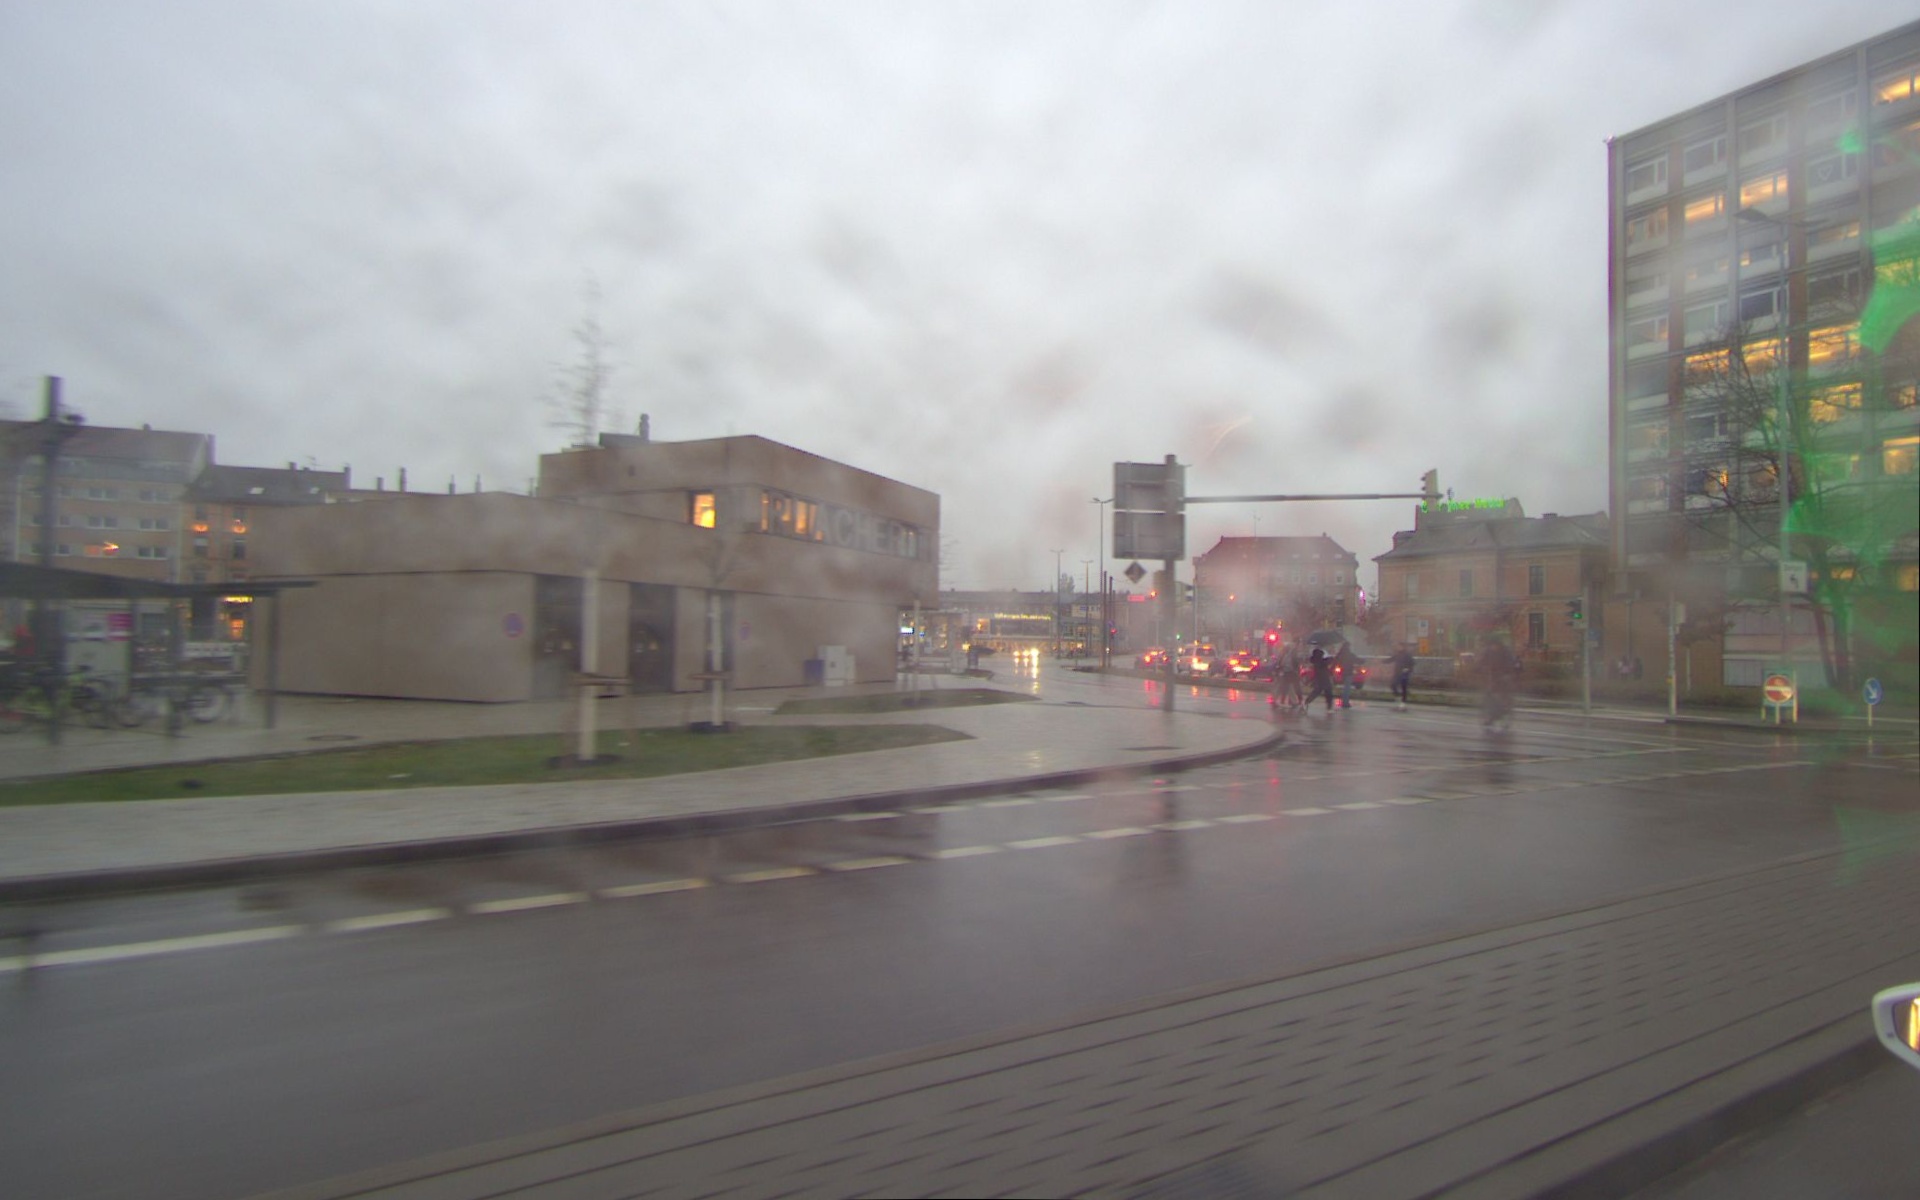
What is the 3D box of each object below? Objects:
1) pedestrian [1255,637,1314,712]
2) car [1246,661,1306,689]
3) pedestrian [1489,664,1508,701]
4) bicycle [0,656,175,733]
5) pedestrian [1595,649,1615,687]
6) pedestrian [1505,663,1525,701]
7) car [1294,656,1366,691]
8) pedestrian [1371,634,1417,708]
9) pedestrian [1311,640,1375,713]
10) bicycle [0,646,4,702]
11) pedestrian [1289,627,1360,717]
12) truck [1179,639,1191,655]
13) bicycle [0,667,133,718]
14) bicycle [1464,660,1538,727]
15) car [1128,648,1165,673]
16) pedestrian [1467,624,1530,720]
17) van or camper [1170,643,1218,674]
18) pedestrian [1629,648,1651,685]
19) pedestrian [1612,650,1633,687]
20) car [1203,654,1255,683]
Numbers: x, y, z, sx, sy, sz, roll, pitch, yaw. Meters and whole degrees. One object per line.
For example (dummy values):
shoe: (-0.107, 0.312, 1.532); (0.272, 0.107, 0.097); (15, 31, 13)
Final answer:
pedestrian: (8.522, 1.925, 26.367); (1.028, 1.882, 1.057); (2, 0, -42)
car: (17.993, 4.253, 57.341); (1.634, 1.422, 4.116); (2, -3, -8)
pedestrian: (29.858, 4.538, 55.669); (0.794, 1.956, 0.760); (2, 0, 22)
bicycle: (-14.698, 1.525, 16.601); (0.596, 1.119, 2.750); (2, -2, 22)
pedestrian: (31.026, 3.291, 48.327); (0.574, 1.804, 0.769); (-2, -3, 21)
pedestrian: (30.757, 4.536, 55.673); (0.794, 2.040, 0.760); (2, 0, 22)
car: (18.591, 3.663, 50.598); (1.676, 1.501, 3.866); (4, -3, -9)
pedestrian: (12.486, 2.018, 28.877); (1.089, 2.032, 0.847); (2, 0, 29)
pedestrian: (10.440, 2.050, 27.385); (1.025, 1.882, 1.223); (2, 0, -34)
bicycle: (-20.194, 1.458, 19.161); (0.635, 1.119, 2.747); (2, 0, 28)
pedestrian: (8.758, 1.708, 24.195); (1.194, 2.077, 1.032); (2, 0, -13)
truck: (40.700, 8.531, 181.936); (1.960, 2.726, 5.119); (0, -3, 14)
bicycle: (-16.999, 1.728, 19.103); (0.595, 0.883, 1.863); (-1, -3, 24)
bicycle: (10.244, 1.743, 19.006); (1.859, 1.191, 0.616); (3, -5, -42)
car: (13.825, 4.483, 74.714); (1.854, 1.795, 4.000); (2, -3, -3)
pedestrian: (10.173, 1.356, 18.984); (0.975, 1.756, 0.709); (3, -4, -42)
van or camper: (16.903, 4.219, 72.898); (2.166, 2.137, 4.988); (2, -3, -2)
pedestrian: (32.416, 3.158, 47.892); (0.706, 1.710, 0.760); (0, -3, 21)
pedestrian: (31.663, 3.273, 48.002); (0.657, 1.710, 0.612); (-2, -1, 22)
car: (17.117, 4.355, 64.158); (1.757, 1.621, 4.539); (4, -3, -5)
